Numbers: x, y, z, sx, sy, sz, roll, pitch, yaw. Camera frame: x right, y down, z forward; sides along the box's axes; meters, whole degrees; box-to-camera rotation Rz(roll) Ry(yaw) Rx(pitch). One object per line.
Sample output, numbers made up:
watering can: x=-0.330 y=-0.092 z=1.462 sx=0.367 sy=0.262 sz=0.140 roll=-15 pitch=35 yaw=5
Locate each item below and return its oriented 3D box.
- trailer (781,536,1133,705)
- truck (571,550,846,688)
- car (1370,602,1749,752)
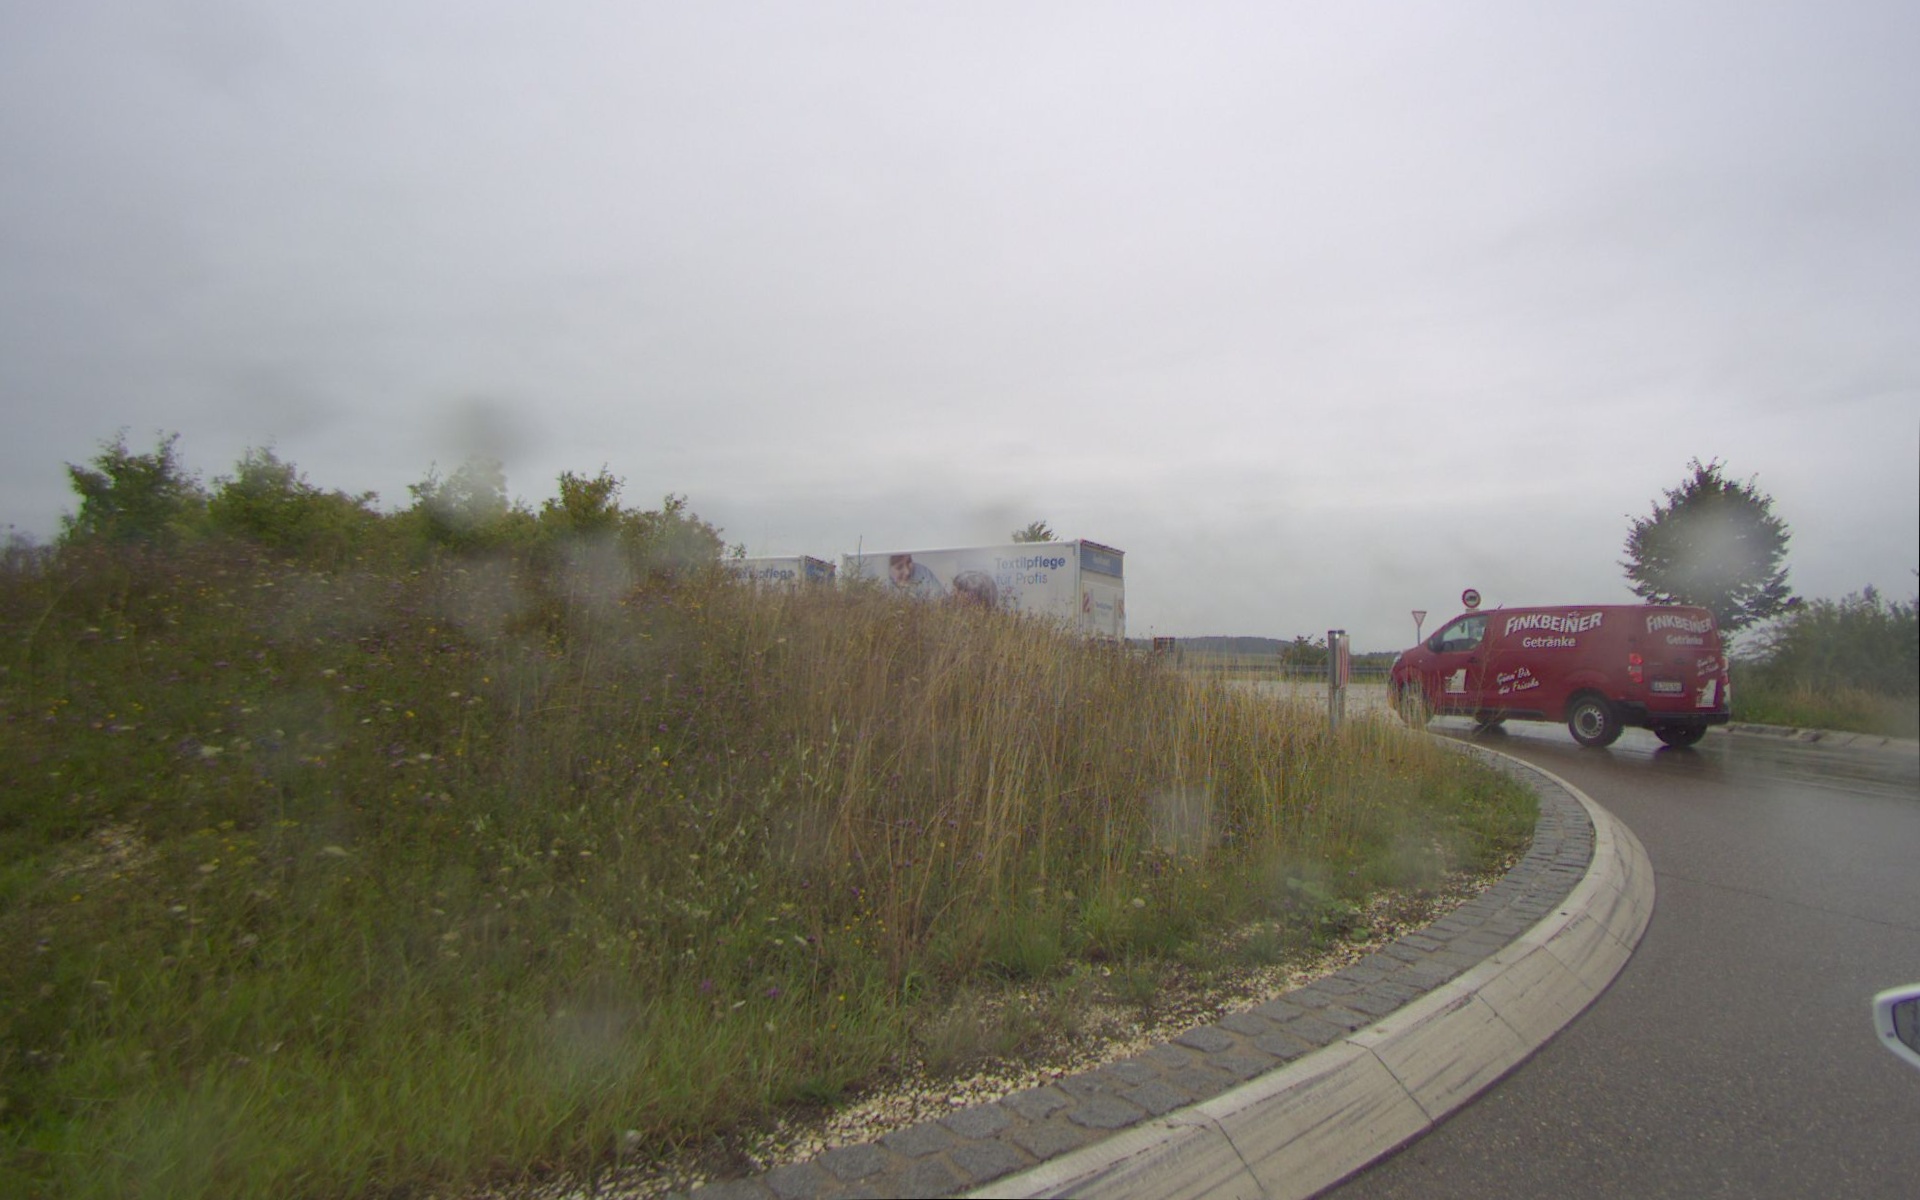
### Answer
trailer: x=-0.335 y=0.585 z=26.943 sx=9.553 sy=3.869 sz=2.833 roll=-1 pitch=-2 yaw=35
truck: x=-7.493 y=0.579 z=30.227 sx=7.533 sy=3.869 sz=2.811 roll=0 pitch=-2 yaw=13
car: x=8.838 y=1.051 z=15.441 sx=1.968 sy=1.895 sz=4.959 roll=1 pitch=-2 yaw=-18
